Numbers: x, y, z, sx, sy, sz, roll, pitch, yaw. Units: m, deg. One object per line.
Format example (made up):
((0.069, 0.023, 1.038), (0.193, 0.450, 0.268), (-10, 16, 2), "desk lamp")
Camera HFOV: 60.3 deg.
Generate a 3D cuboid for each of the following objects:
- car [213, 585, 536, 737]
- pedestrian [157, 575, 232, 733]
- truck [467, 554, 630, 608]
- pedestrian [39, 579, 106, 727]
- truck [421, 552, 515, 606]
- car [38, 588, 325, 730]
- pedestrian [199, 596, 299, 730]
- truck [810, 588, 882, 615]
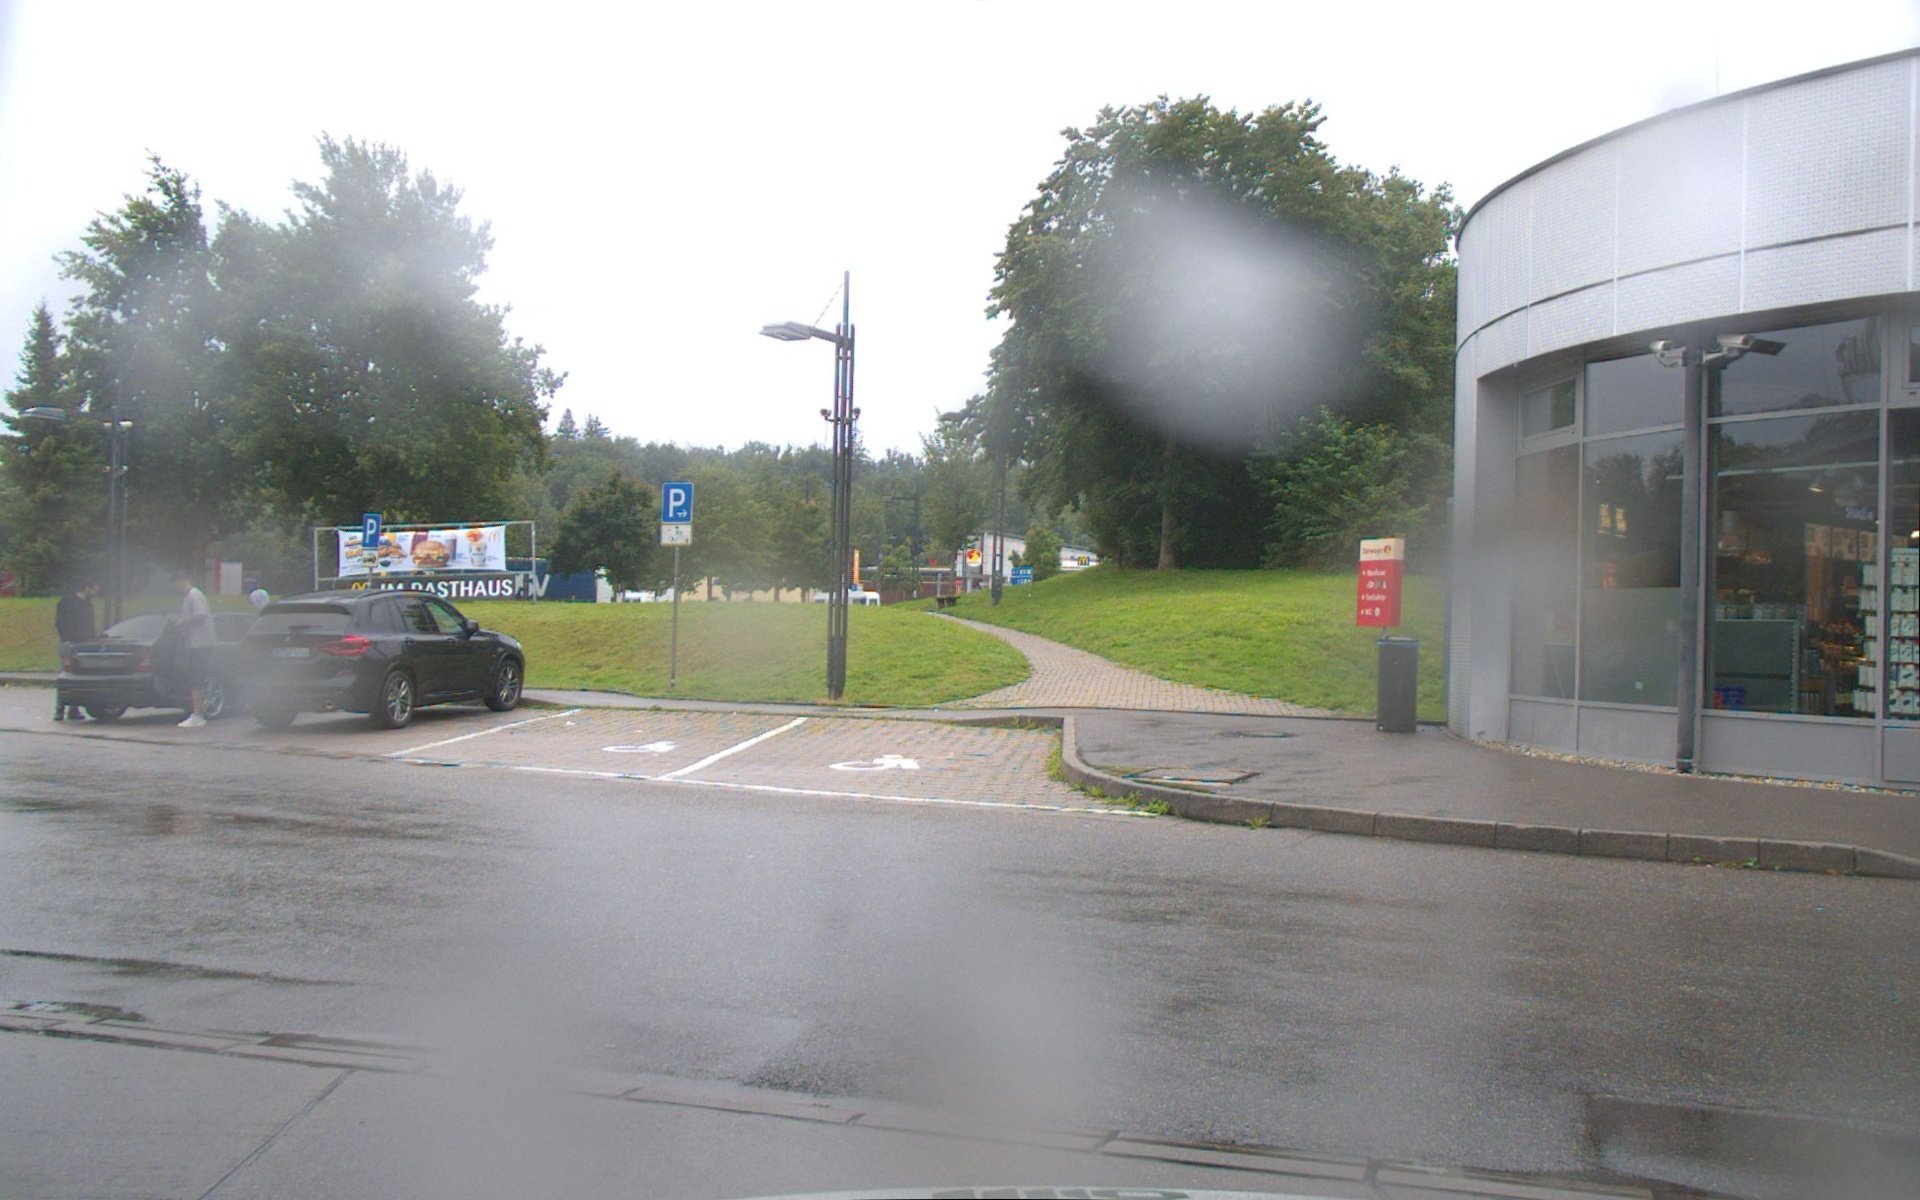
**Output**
((-7.370, 0.695, 21.353), (1.973, 1.741, 4.347), (-1, 1, 11), "car")
((-9.582, 0.654, 20.697), (0.695, 1.920, 0.943), (1, -1, -33), "pedestrian")
((-24.931, -1.087, 101.252), (2.142, 2.971, 13.092), (1, 0, 23), "truck")
((-11.764, 0.686, 21.922), (0.695, 1.920, 0.883), (1, -1, -33), "pedestrian")
((-27.982, -1.170, 94.237), (2.142, 2.971, 5.384), (1, 0, 24), "truck")
((-10.578, 0.721, 22.872), (1.976, 1.741, 4.342), (-1, 1, -2), "car")
((-9.121, 0.792, 21.246), (0.687, 1.660, 0.954), (1, -1, 19), "pedestrian")
((-9.233, 0.140, 133.649), (5.298, 2.049, 2.366), (1, 0, 24), "truck")
